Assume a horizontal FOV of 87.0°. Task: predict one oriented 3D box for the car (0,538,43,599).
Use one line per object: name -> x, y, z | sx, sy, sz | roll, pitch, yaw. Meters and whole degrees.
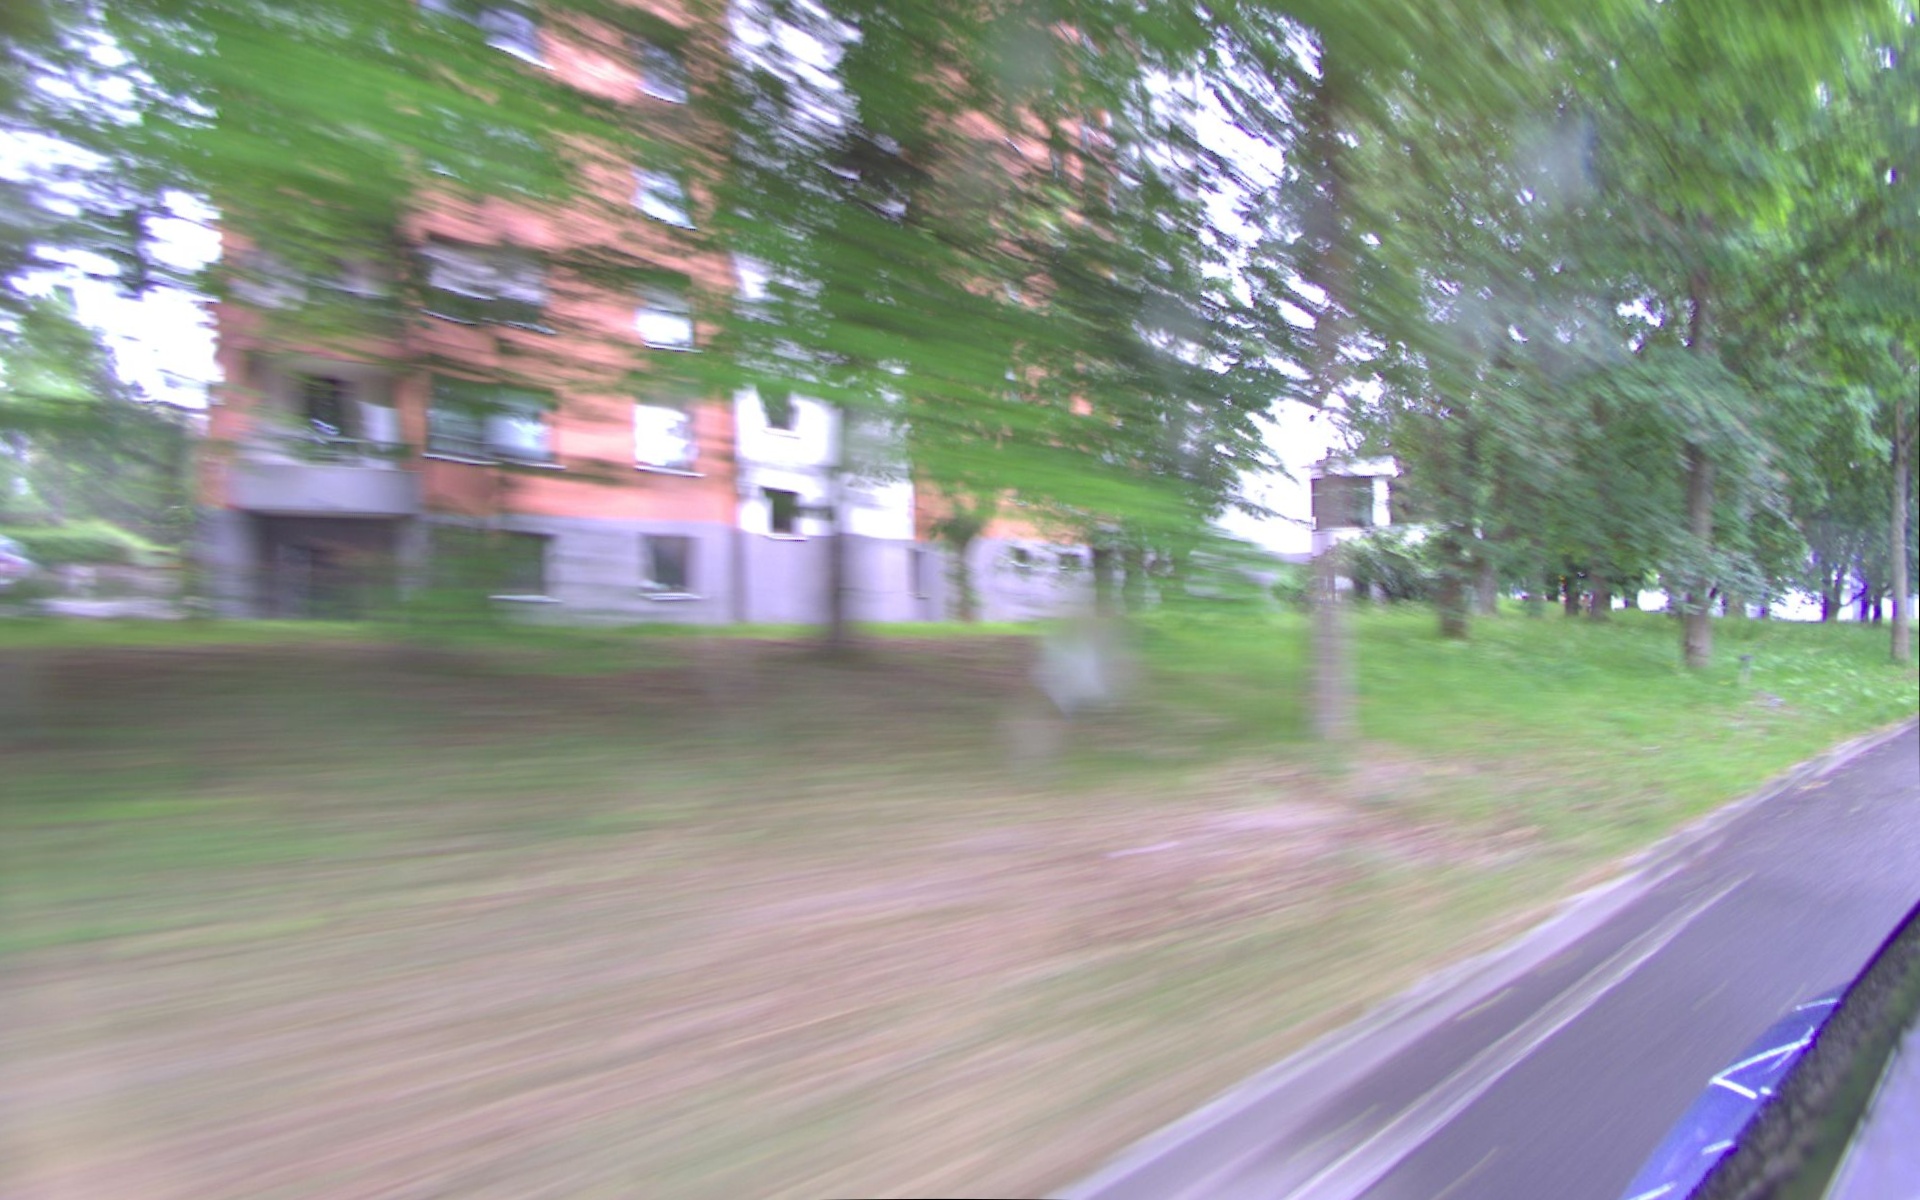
car -> -23.609, -0.753, 24.481 | 1.719, 1.411, 3.998 | 1, 0, -37
